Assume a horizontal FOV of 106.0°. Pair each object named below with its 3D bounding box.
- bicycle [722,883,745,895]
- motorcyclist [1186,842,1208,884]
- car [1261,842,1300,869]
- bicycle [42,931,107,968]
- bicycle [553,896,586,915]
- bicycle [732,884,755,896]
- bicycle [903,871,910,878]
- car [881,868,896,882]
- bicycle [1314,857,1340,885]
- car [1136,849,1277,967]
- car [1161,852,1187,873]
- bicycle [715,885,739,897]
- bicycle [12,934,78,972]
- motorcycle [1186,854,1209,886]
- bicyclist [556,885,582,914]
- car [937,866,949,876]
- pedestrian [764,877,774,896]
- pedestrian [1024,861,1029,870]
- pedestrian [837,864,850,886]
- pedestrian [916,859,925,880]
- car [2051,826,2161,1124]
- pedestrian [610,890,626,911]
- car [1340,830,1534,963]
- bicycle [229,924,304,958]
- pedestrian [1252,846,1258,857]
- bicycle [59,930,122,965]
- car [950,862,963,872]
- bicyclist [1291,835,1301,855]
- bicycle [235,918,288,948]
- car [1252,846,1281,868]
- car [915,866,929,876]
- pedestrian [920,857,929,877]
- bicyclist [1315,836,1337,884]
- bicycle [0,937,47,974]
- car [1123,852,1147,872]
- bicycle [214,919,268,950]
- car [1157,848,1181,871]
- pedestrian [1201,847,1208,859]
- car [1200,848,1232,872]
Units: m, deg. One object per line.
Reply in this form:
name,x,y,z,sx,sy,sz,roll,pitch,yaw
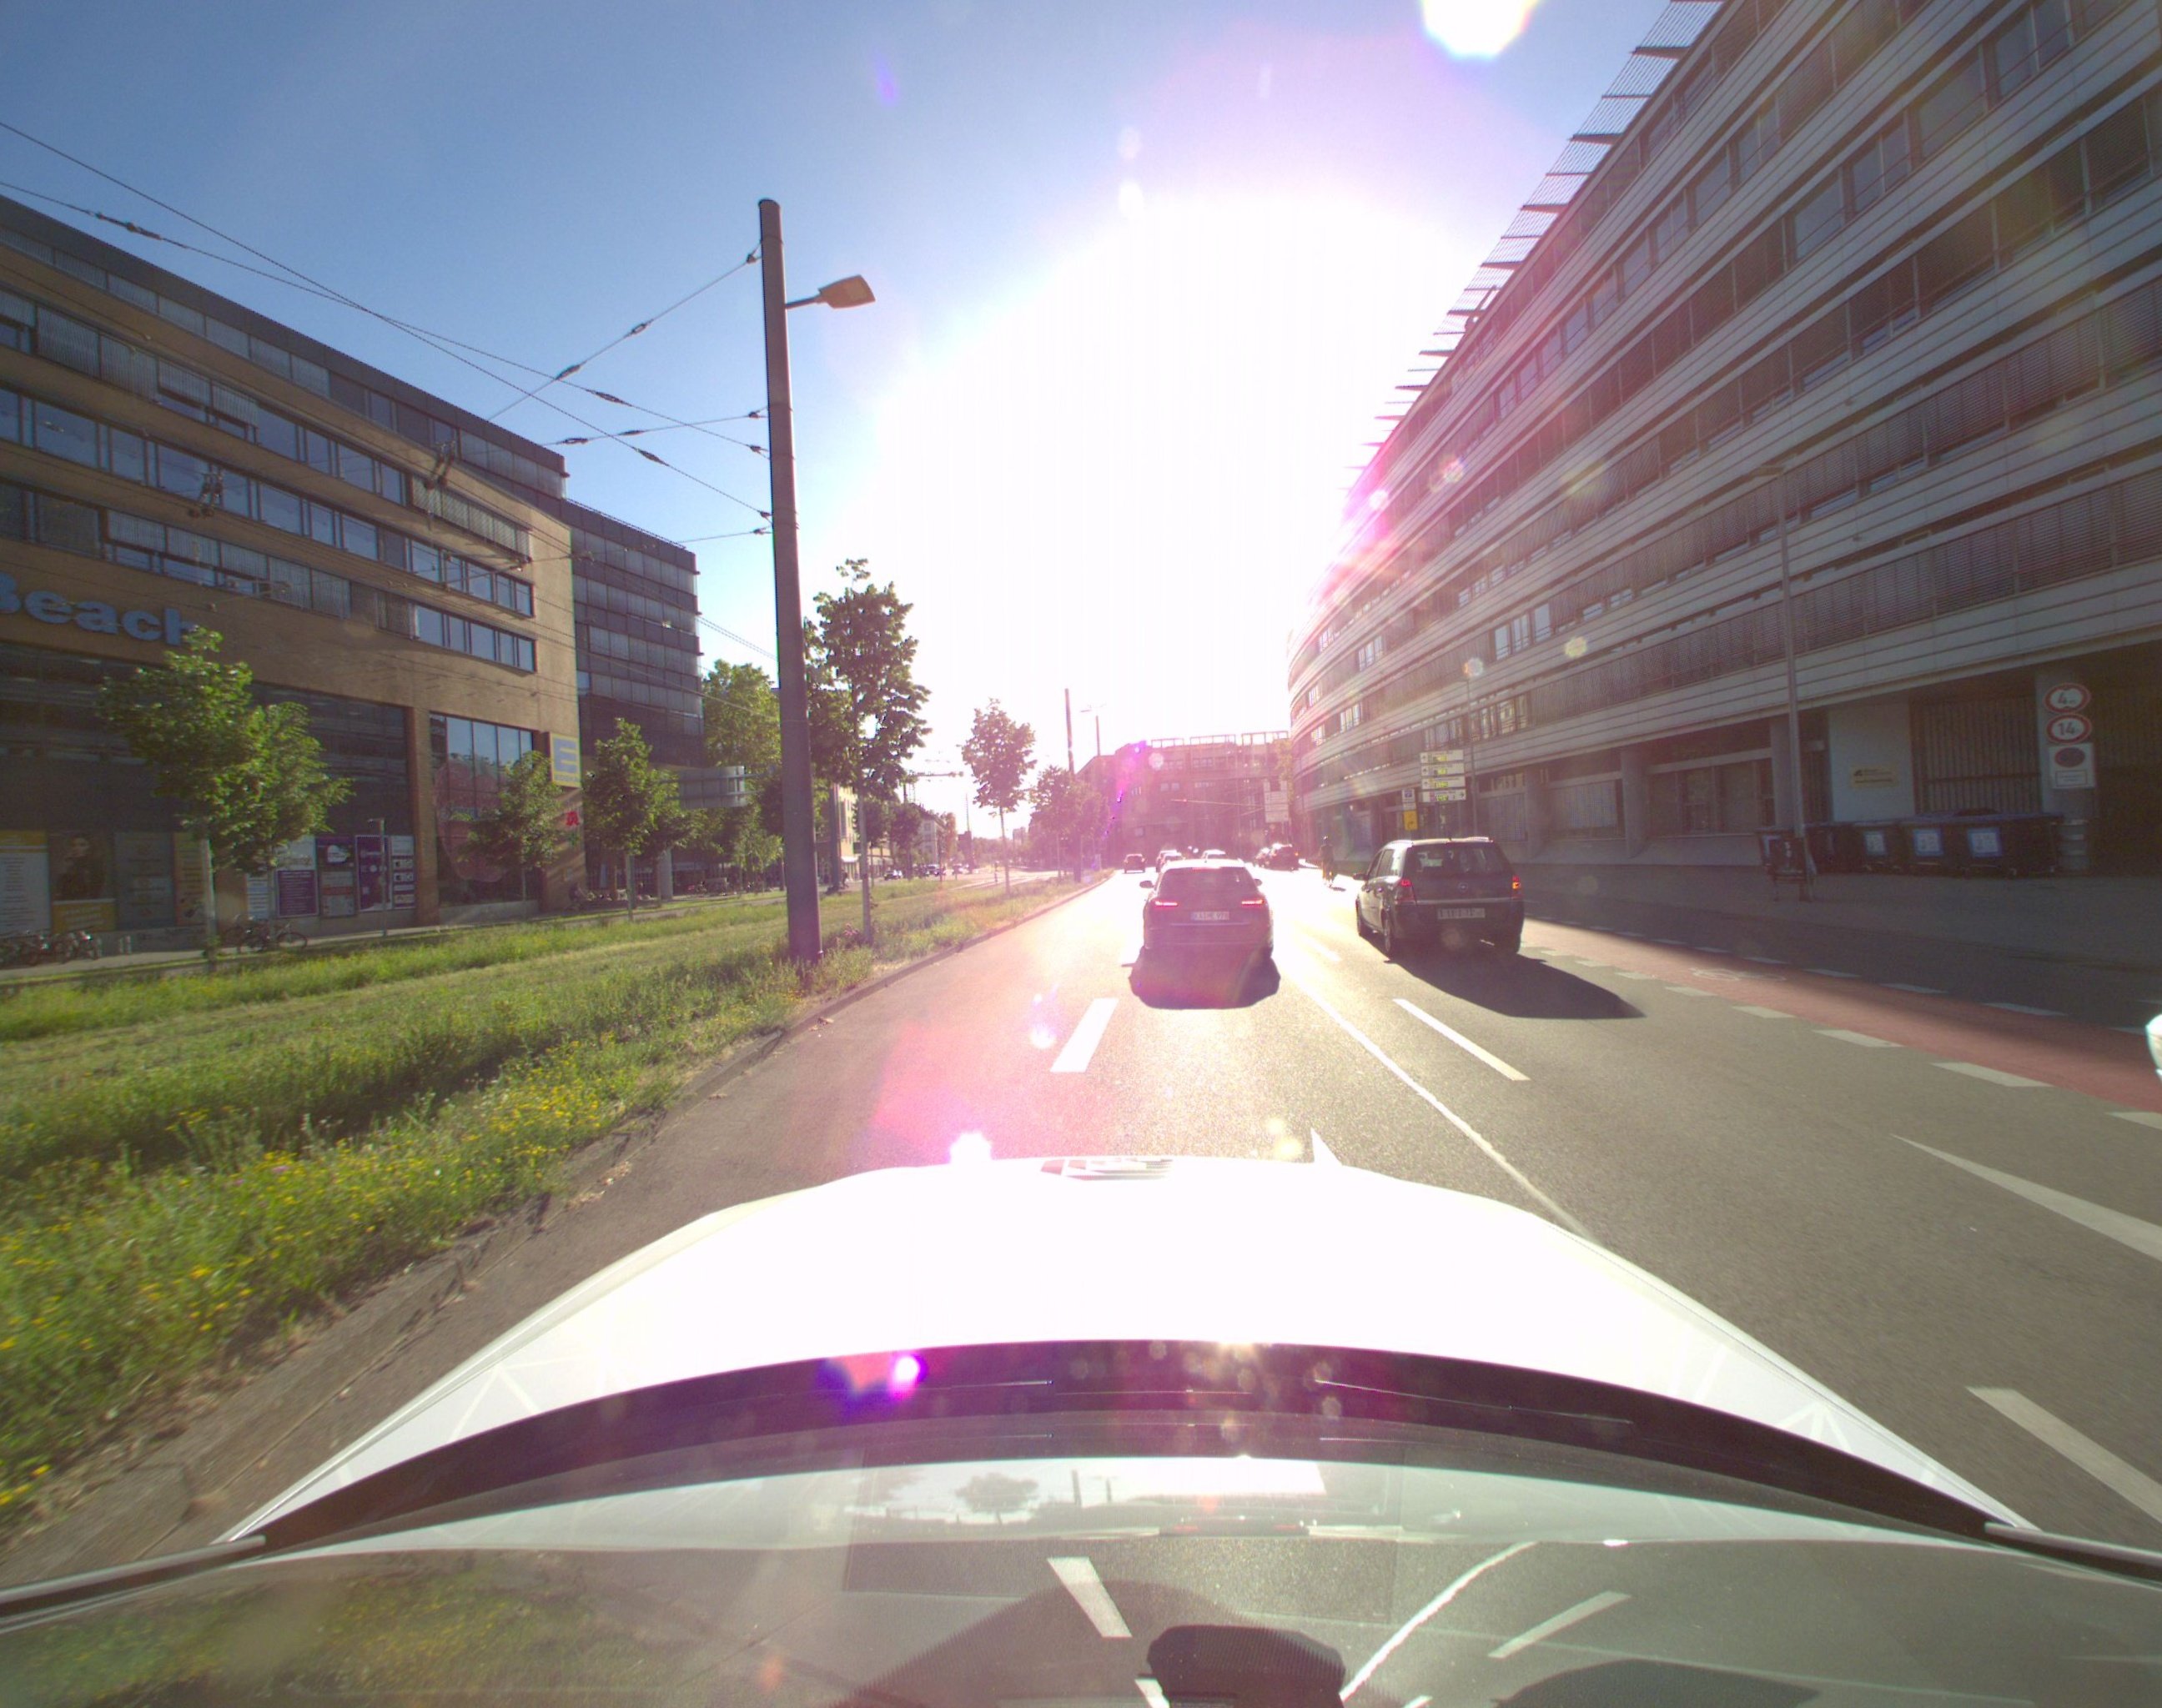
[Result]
bicycle,-30.582,3.069,71.696,1.773,0.951,0.537,-3,0,-23
motorcyclist,4.436,0.324,31.171,0.741,1.530,1.023,-4,0,8
car,14.348,0.078,58.858,1.984,1.750,4.335,-4,0,5
bicycle,-32.392,3.071,26.208,1.754,1.049,0.492,-4,0,11
bicycle,-27.724,2.777,44.167,0.496,0.910,1.889,-3,0,2
bicycle,-30.540,3.228,73.761,1.762,0.951,0.541,-3,0,-3
bicycle,-28.594,3.336,133.345,0.648,1.085,2.922,-3,0,-4
car,-32.381,3.502,136.784,1.993,2.013,3.987,-4,0,-9
bicycle,9.601,0.641,31.868,0.489,0.997,2.331,-4,0,5
car,2.027,0.714,13.017,1.800,1.492,4.508,-2,0,9
car,6.624,0.595,58.265,1.729,1.349,4.006,-3,0,5
bicycle,-30.644,3.193,70.578,1.766,0.951,0.539,-3,0,-11
bicycle,-32.484,3.107,25.527,1.754,1.049,0.492,-4,0,11
motorcycle,4.486,0.598,31.375,0.771,1.115,1.973,-4,0,7
bicyclist,-27.739,2.476,44.148,0.675,1.465,1.017,-4,0,1
car,-23.558,2.915,139.361,1.747,1.504,3.863,-4,0,-13
pedestrian,-32.692,3.394,85.245,0.662,2.013,0.679,-4,0,5
pedestrian,-9.779,2.101,146.036,0.742,1.640,0.765,-3,0,-9
pedestrian,-21.996,1.942,75.452,0.728,2.013,0.840,-2,0,8
pedestrian,-14.430,1.395,73.192,0.630,1.830,0.662,-4,0,-2
car,5.649,0.573,2.059,1.738,1.431,4.506,-4,0,14
pedestrian,-39.139,3.940,68.904,0.728,1.645,0.840,-4,0,8
car,5.282,0.539,12.710,1.677,1.629,4.475,-3,0,10
bicycle,-25.855,2.737,25.899,0.461,0.868,1.773,-4,0,4
pedestrian,22.470,-0.320,105.237,0.527,1.430,0.599,-3,0,4
bicycle,-32.695,3.084,26.888,1.754,1.049,0.492,-4,0,11
car,-21.119,2.239,138.278,1.747,1.504,3.863,-4,0,-13
bicyclist,18.452,-0.767,69.981,0.679,1.618,0.995,-4,0,16
bicycle,-31.672,3.049,31.467,1.754,1.049,0.492,-4,0,11
car,15.146,0.225,66.718,1.982,1.651,4.010,-3,0,8
car,-27.141,2.918,139.281,1.993,1.596,4.723,-4,0,-9
pedestrian,-14.328,1.180,74.455,0.561,1.817,0.662,-4,0,-2
bicyclist,9.572,0.231,31.864,0.574,1.791,0.865,-4,0,5
bicycle,-32.623,3.111,24.885,1.754,1.049,0.492,-4,0,11
car,4.328,0.627,64.867,1.641,1.433,4.006,-3,0,5
bicycle,-31.795,3.053,30.839,1.754,1.049,0.492,-4,0,11
car,7.040,0.421,65.518,1.729,1.651,4.006,-3,0,5
pedestrian,17.870,-0.135,117.811,0.699,1.758,0.564,-4,0,29
car,9.047,0.366,54.706,1.799,1.457,4.006,-2,0,5
